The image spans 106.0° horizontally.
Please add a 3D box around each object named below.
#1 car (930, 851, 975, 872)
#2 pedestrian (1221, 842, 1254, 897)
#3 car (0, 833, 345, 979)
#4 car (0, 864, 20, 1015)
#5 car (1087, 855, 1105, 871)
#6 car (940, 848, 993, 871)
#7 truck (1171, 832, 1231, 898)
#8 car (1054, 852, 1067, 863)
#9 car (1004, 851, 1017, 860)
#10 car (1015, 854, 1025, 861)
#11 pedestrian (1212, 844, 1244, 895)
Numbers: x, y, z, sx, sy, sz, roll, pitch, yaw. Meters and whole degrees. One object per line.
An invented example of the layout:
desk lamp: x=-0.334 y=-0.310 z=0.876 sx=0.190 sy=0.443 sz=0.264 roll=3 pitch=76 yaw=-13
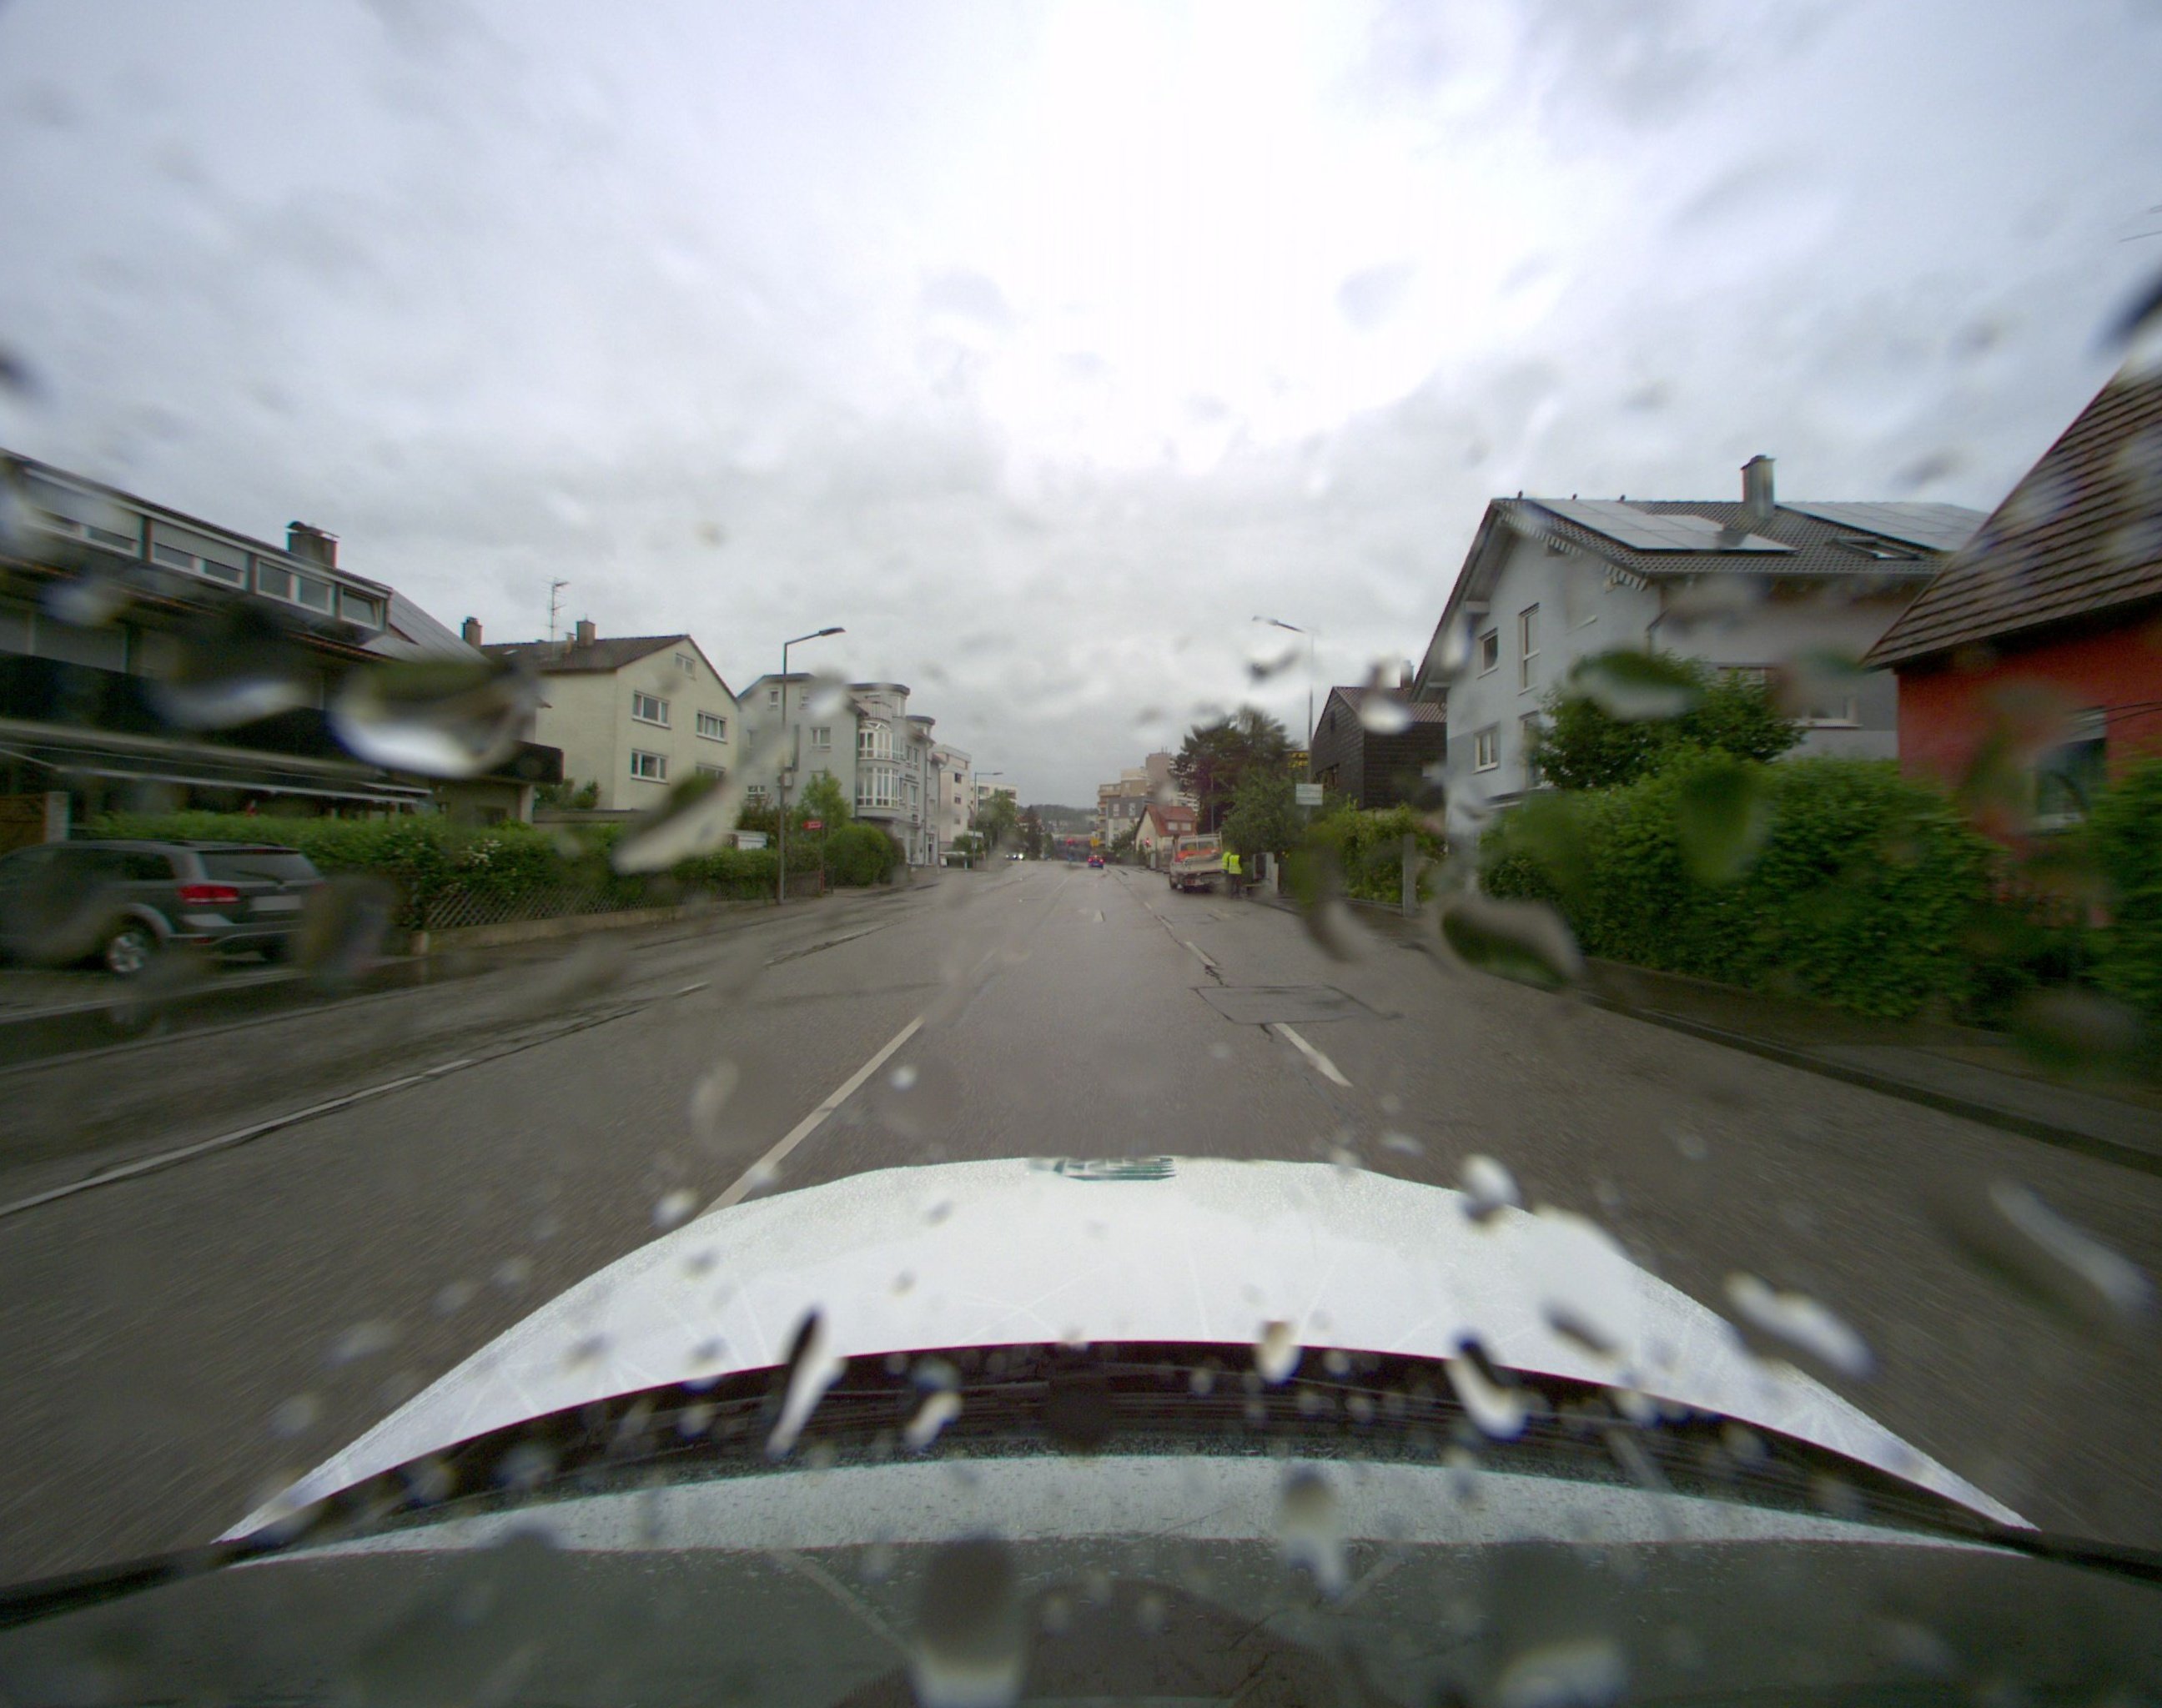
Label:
car: x=-12.988 y=0.749 z=82.257 sx=3.960 sy=2.014 sz=2.007 roll=1 pitch=0 yaw=12
pedestrian: x=5.286 y=0.515 z=27.515 sx=0.825 sy=1.797 sz=0.796 roll=0 pitch=-1 yaw=-17
car: x=-12.265 y=0.626 z=10.653 sx=3.962 sy=1.686 sz=1.814 roll=0 pitch=-1 yaw=10
car: x=-12.444 y=0.820 z=7.364 sx=3.964 sy=1.446 sz=1.710 roll=0 pitch=-1 yaw=8
car: x=1.651 y=0.953 z=87.849 sx=1.787 sy=1.669 sz=4.003 roll=1 pitch=0 yaw=3
car: x=-10.823 y=0.521 z=76.948 sx=4.488 sy=2.014 sz=2.008 roll=1 pitch=0 yaw=15
truck: x=4.664 y=0.454 z=32.138 sx=1.984 sy=2.303 sz=4.005 roll=4 pitch=-1 yaw=5
car: x=-2.990 y=0.551 z=117.754 sx=1.573 sy=1.438 sz=4.001 roll=4 pitch=-1 yaw=2
car: x=-12.597 y=0.276 z=145.547 sx=1.653 sy=1.463 sz=4.001 roll=4 pitch=-1 yaw=2
car: x=-11.524 y=0.637 z=153.529 sx=1.432 sy=1.235 sz=4.001 roll=1 pitch=0 yaw=2
pedestrian: x=5.110 y=0.537 z=28.402 sx=0.824 sy=1.726 sz=0.836 roll=0 pitch=-1 yaw=-16
